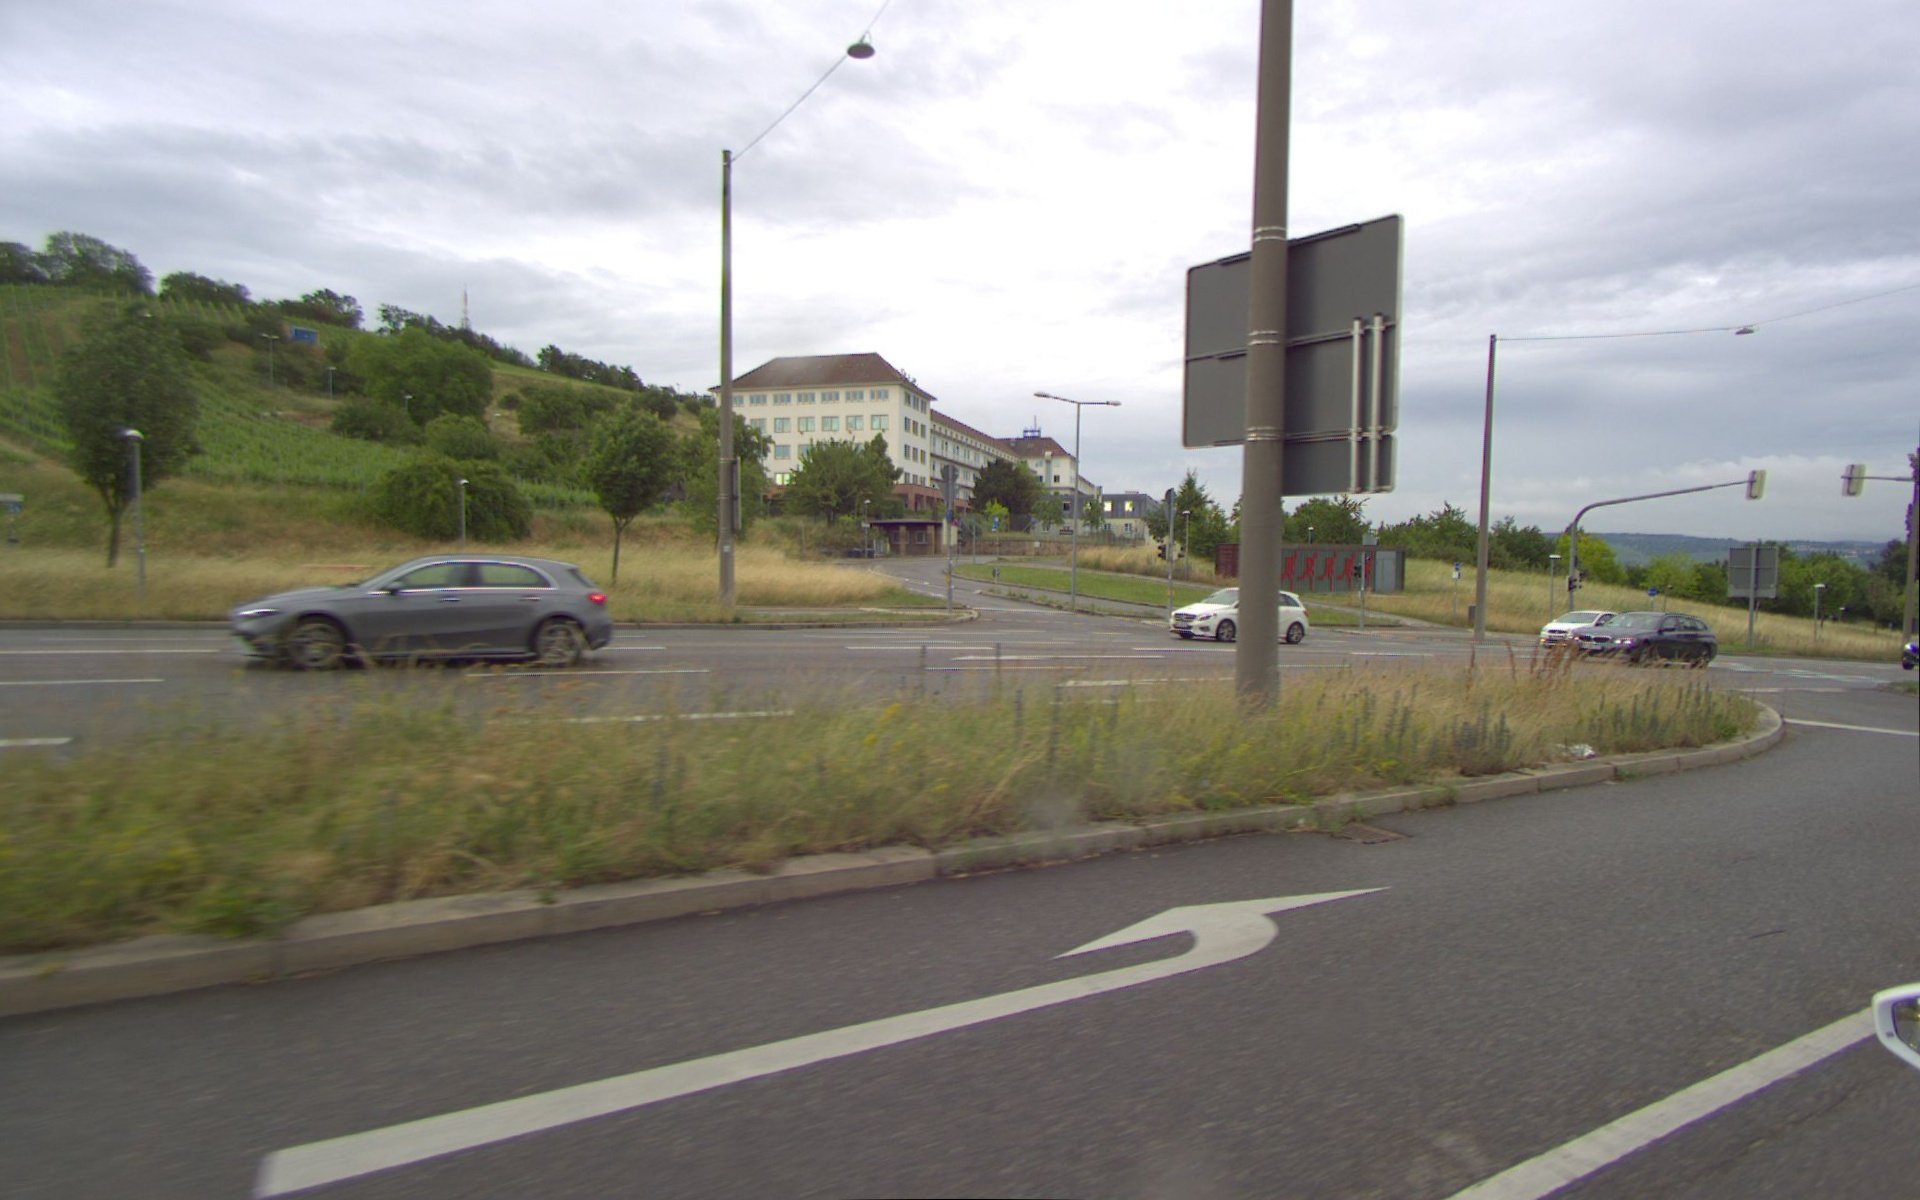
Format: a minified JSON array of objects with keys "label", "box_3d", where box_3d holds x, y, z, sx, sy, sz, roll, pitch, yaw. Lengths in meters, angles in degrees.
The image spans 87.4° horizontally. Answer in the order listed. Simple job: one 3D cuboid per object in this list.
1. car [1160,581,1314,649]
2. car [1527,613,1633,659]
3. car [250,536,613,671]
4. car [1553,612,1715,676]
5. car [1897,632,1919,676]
[{"label":"car","box_3d":[7.982,0.443,28.916,4.126,1.670,1.760,3,1,-28]},{"label":"car","box_3d":[22.935,1.337,37.138,3.728,1.482,1.644,3,1,-28]},{"label":"car","box_3d":[-6.805,0.071,13.266,3.950,1.538,1.760,2,1,-28]},{"label":"car","box_3d":[18.297,1.202,27.223,4.409,1.524,1.743,3,1,-28]},{"label":"car","box_3d":[36.286,2.071,37.289,3.628,1.523,1.527,3,1,-37]}]
